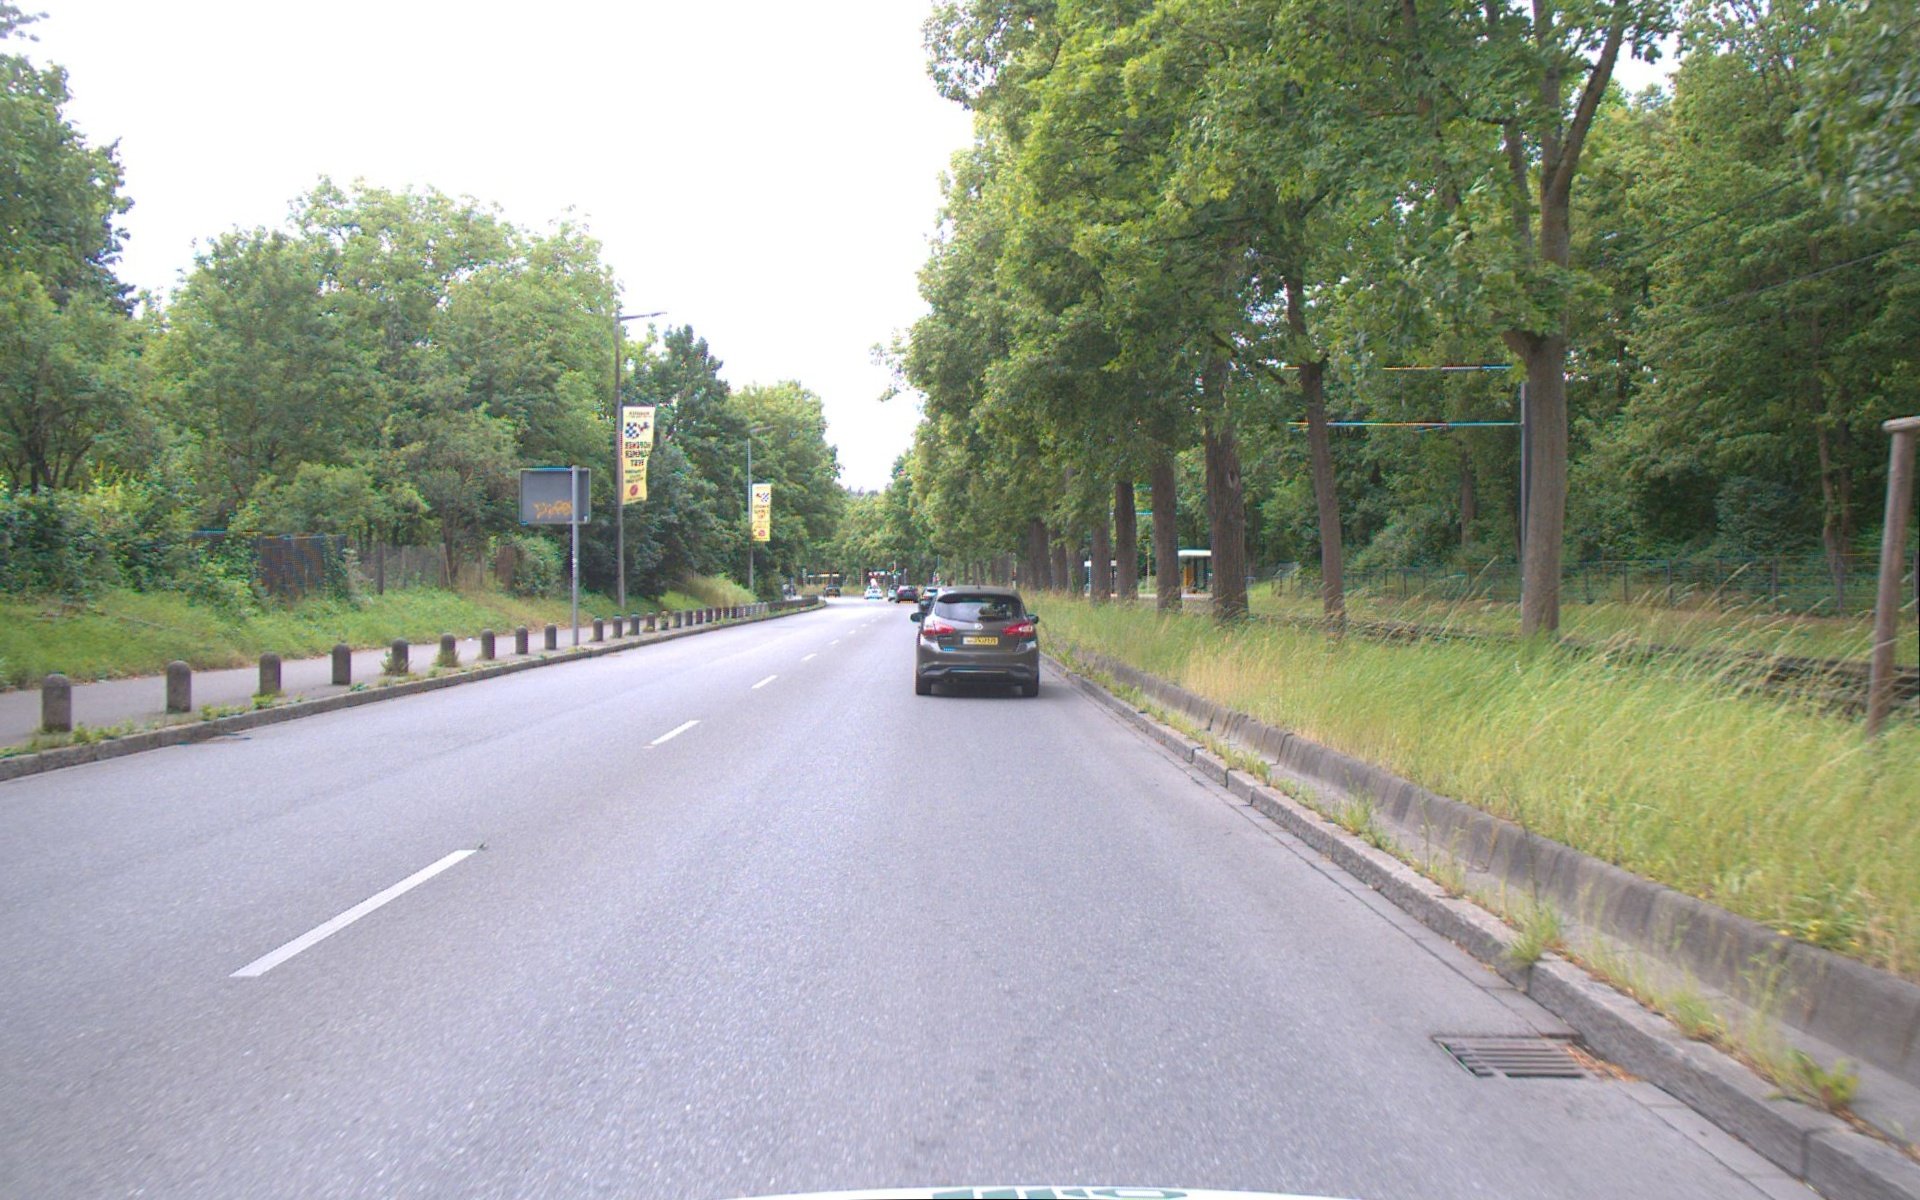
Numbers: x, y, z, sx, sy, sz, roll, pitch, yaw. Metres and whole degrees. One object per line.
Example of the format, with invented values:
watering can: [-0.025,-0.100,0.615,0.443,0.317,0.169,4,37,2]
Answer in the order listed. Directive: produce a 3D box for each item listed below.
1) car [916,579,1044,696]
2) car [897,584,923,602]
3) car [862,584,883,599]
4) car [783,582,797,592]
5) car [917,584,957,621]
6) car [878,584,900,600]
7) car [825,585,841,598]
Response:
car: [0.228,0.490,24.198,1.695,1.564,3.550,1,1,-2]
car: [-4.171,-0.575,137.178,1.534,1.466,3.541,1,1,-12]
car: [-9.306,-0.923,175.313,1.536,1.466,3.537,1,1,-15]
car: [-25.001,-1.916,243.511,1.535,1.466,3.539,1,1,-14]
car: [-1.054,0.089,73.244,1.695,1.564,3.550,1,1,-2]
car: [-6.607,-0.770,153.513,1.534,1.466,3.541,1,1,-12]
car: [-16.139,-1.087,209.947,1.533,1.466,3.542,1,1,-11]
